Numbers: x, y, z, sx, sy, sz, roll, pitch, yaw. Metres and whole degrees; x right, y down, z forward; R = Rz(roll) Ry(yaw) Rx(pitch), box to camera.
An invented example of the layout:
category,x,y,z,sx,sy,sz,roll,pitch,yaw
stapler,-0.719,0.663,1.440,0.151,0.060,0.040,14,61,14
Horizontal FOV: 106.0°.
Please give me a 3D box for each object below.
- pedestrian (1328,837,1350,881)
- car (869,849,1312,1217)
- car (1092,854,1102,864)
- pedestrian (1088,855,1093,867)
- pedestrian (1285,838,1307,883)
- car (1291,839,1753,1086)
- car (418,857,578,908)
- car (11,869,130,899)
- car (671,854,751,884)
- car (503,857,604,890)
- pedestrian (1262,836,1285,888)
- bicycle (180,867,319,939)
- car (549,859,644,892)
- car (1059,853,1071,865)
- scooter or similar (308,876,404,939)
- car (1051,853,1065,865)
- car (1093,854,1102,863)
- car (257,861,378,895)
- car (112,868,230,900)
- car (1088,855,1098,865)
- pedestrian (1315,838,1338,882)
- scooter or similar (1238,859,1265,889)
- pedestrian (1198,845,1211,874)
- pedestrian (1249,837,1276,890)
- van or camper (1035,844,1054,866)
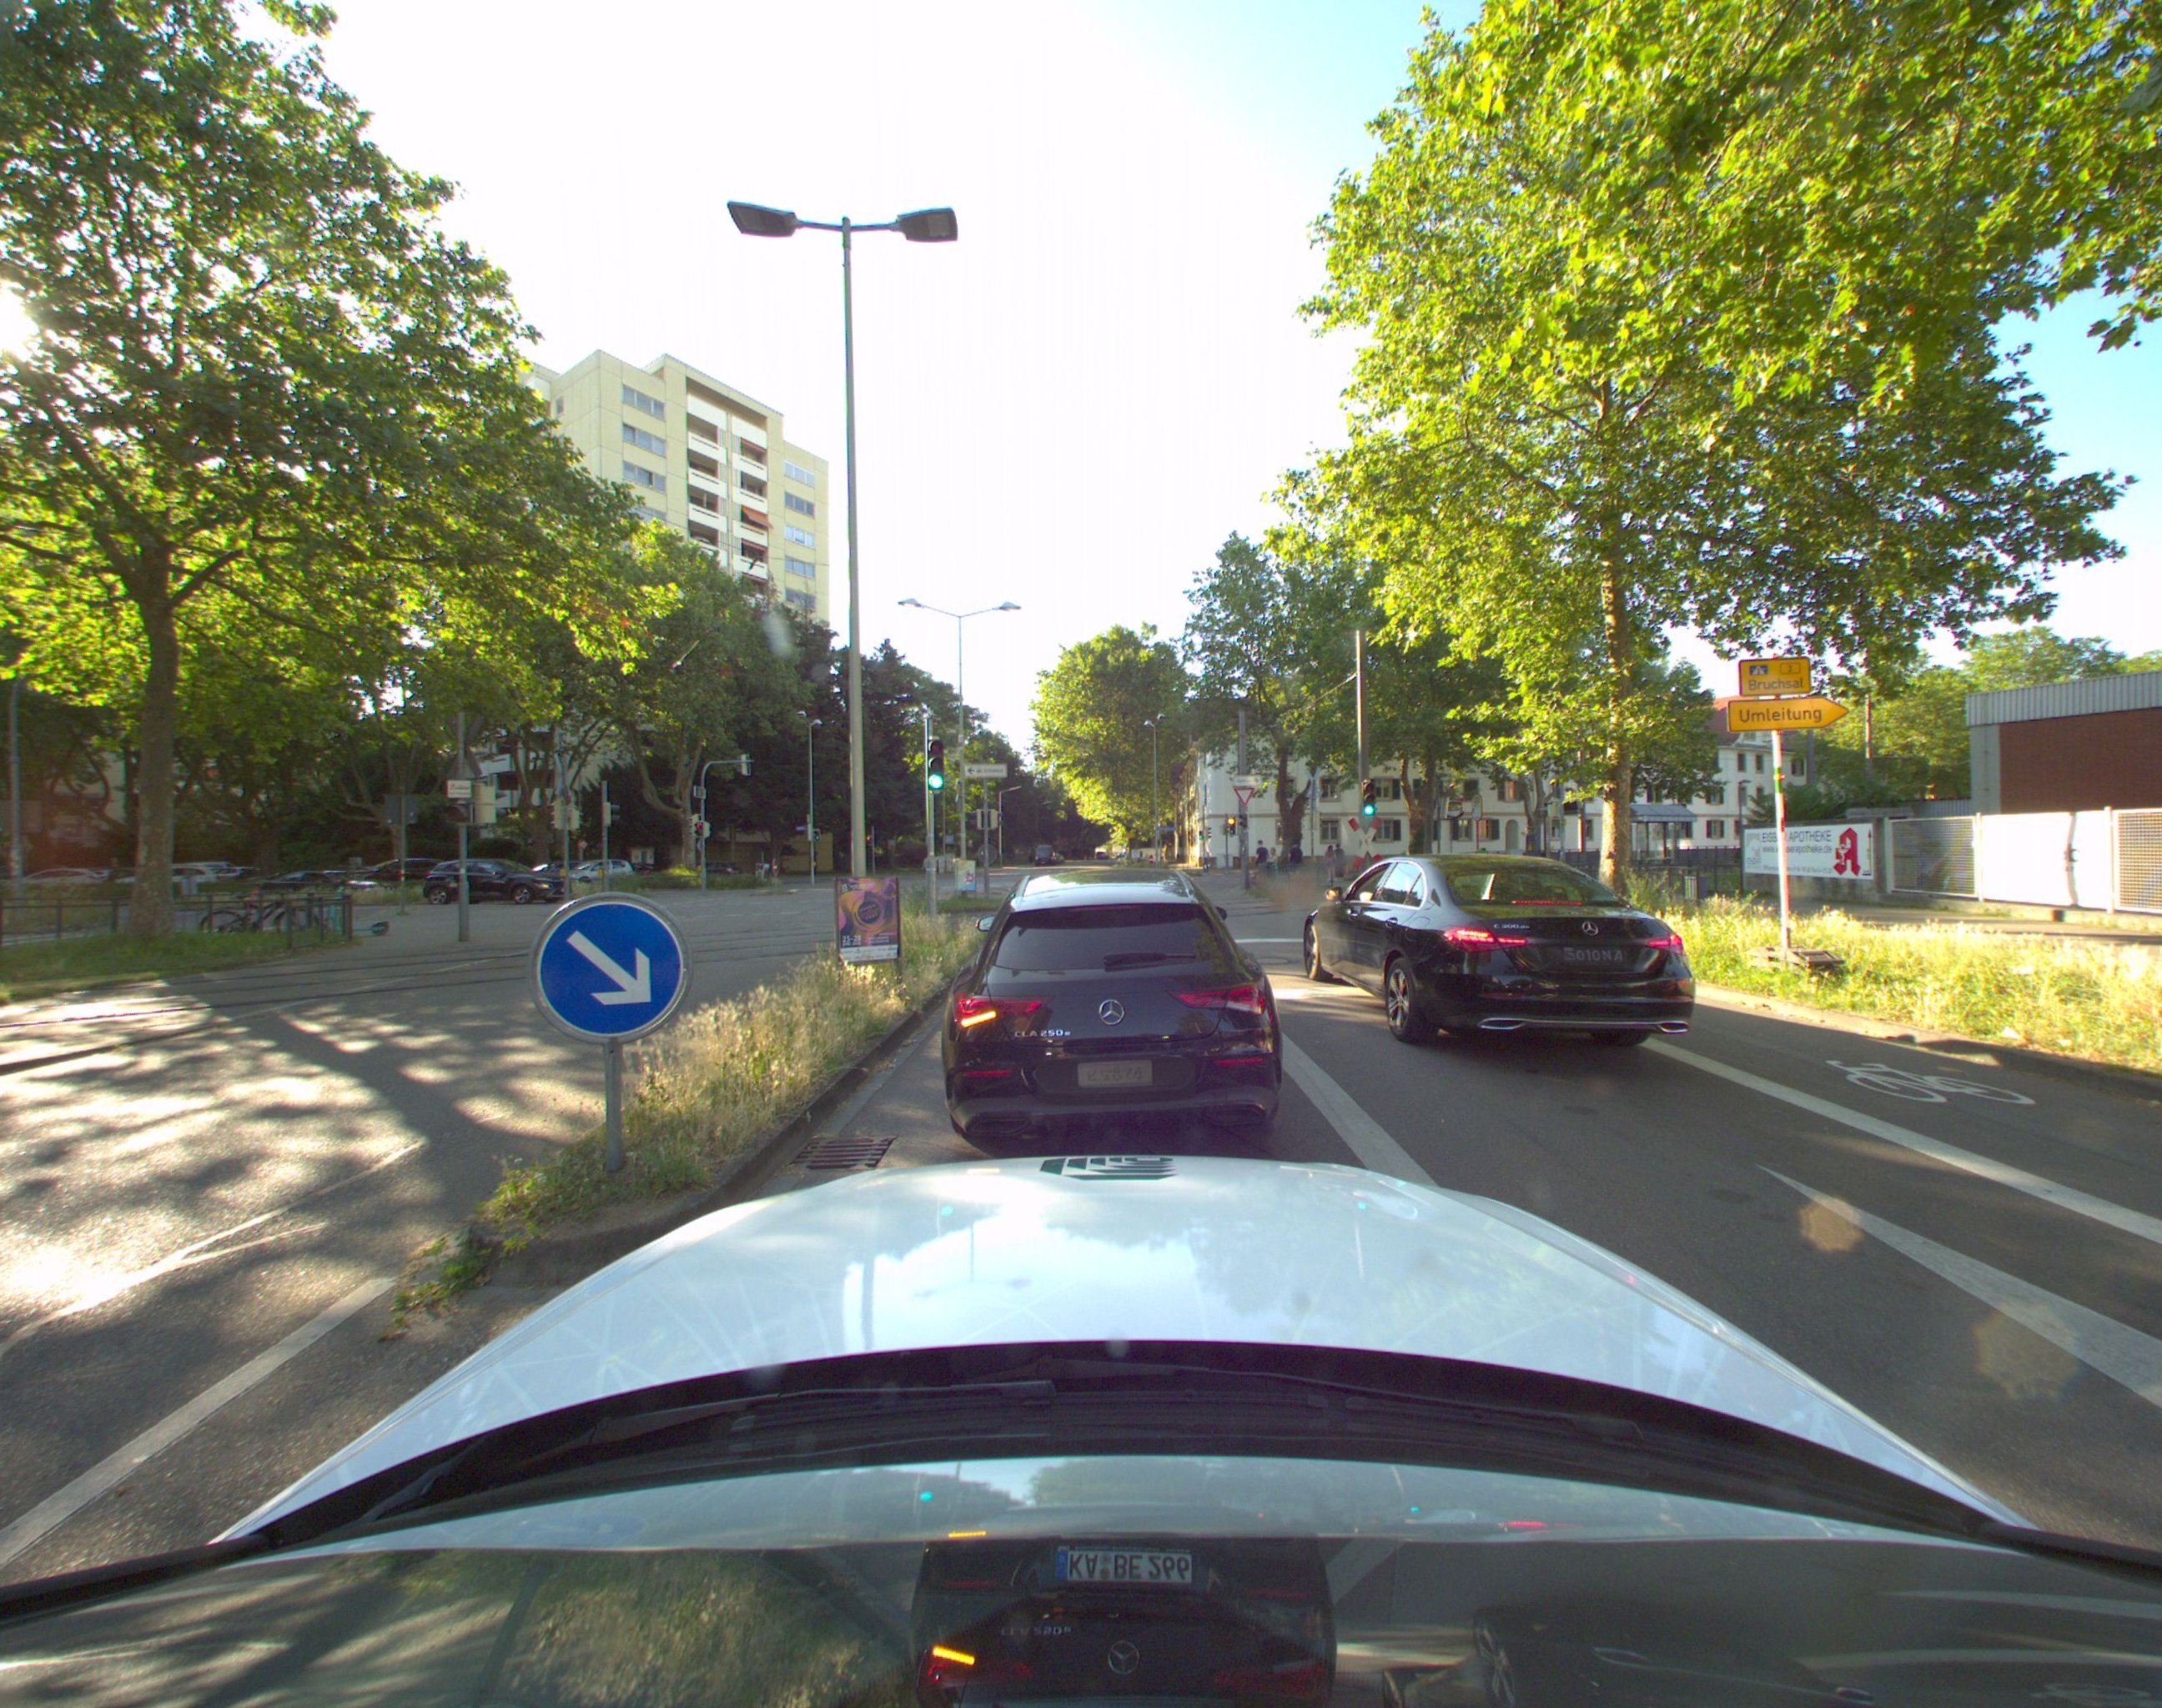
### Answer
category,x,y,z,sx,sy,sz,roll,pitch,yaw
pedestrian,11.568,0.230,36.544,0.703,1.918,0.838,0,-1,-2
car,0.151,0.751,5.475,1.881,1.450,4.004,0,2,3
car,2.907,0.973,150.546,1.727,1.765,4.020,0,-1,2
pedestrian,1.530,1.046,130.205,0.704,1.918,0.837,0,-1,-8
pedestrian,9.285,0.282,35.241,0.703,1.918,0.838,0,-1,-2
car,3.339,0.646,7.326,1.882,1.490,4.383,0,2,1
car,-19.439,0.925,27.286,3.981,1.596,1.735,0,-1,-5
car,-57.106,1.658,46.078,1.716,1.596,4.025,-1,-1,32
car,-22.644,0.901,49.927,3.963,1.774,2.005,0,-1,9
car,-27.225,0.971,42.165,1.716,1.596,4.025,-1,-1,32
pedestrian,7.283,0.297,30.864,0.681,1.918,0.707,0,-1,-2
bicycle,-15.957,0.916,15.674,1.845,1.307,0.380,0,-1,-26
car,-24.928,1.087,42.031,1.716,1.596,3.831,-1,-1,32
car,-2.479,0.821,126.681,1.727,1.765,3.972,0,-1,2
scooter or similar,-15.098,1.094,16.987,0.408,1.239,1.450,-1,-1,40
car,-3.274,0.752,117.293,1.727,1.765,4.087,0,-1,2
car,3.238,0.894,158.629,1.727,1.765,4.020,0,-1,2
car,-37.419,1.140,40.002,1.716,1.596,4.025,-1,-1,32
car,-49.165,1.581,44.075,1.716,1.596,4.025,-1,-1,32
car,2.096,1.001,145.741,1.727,1.765,4.020,0,-1,2
pedestrian,10.717,0.258,35.564,0.703,1.918,0.838,0,-1,-2
scooter or similar,6.418,0.752,30.698,0.826,1.104,0.808,0,-1,-4
pedestrian,8.204,0.355,54.077,0.703,1.918,0.838,0,-1,-2
pedestrian,6.625,0.346,29.726,0.711,1.918,0.676,0,-1,-44
van or camper,-4.425,0.124,100.055,1.986,2.541,4.653,0,-1,2
